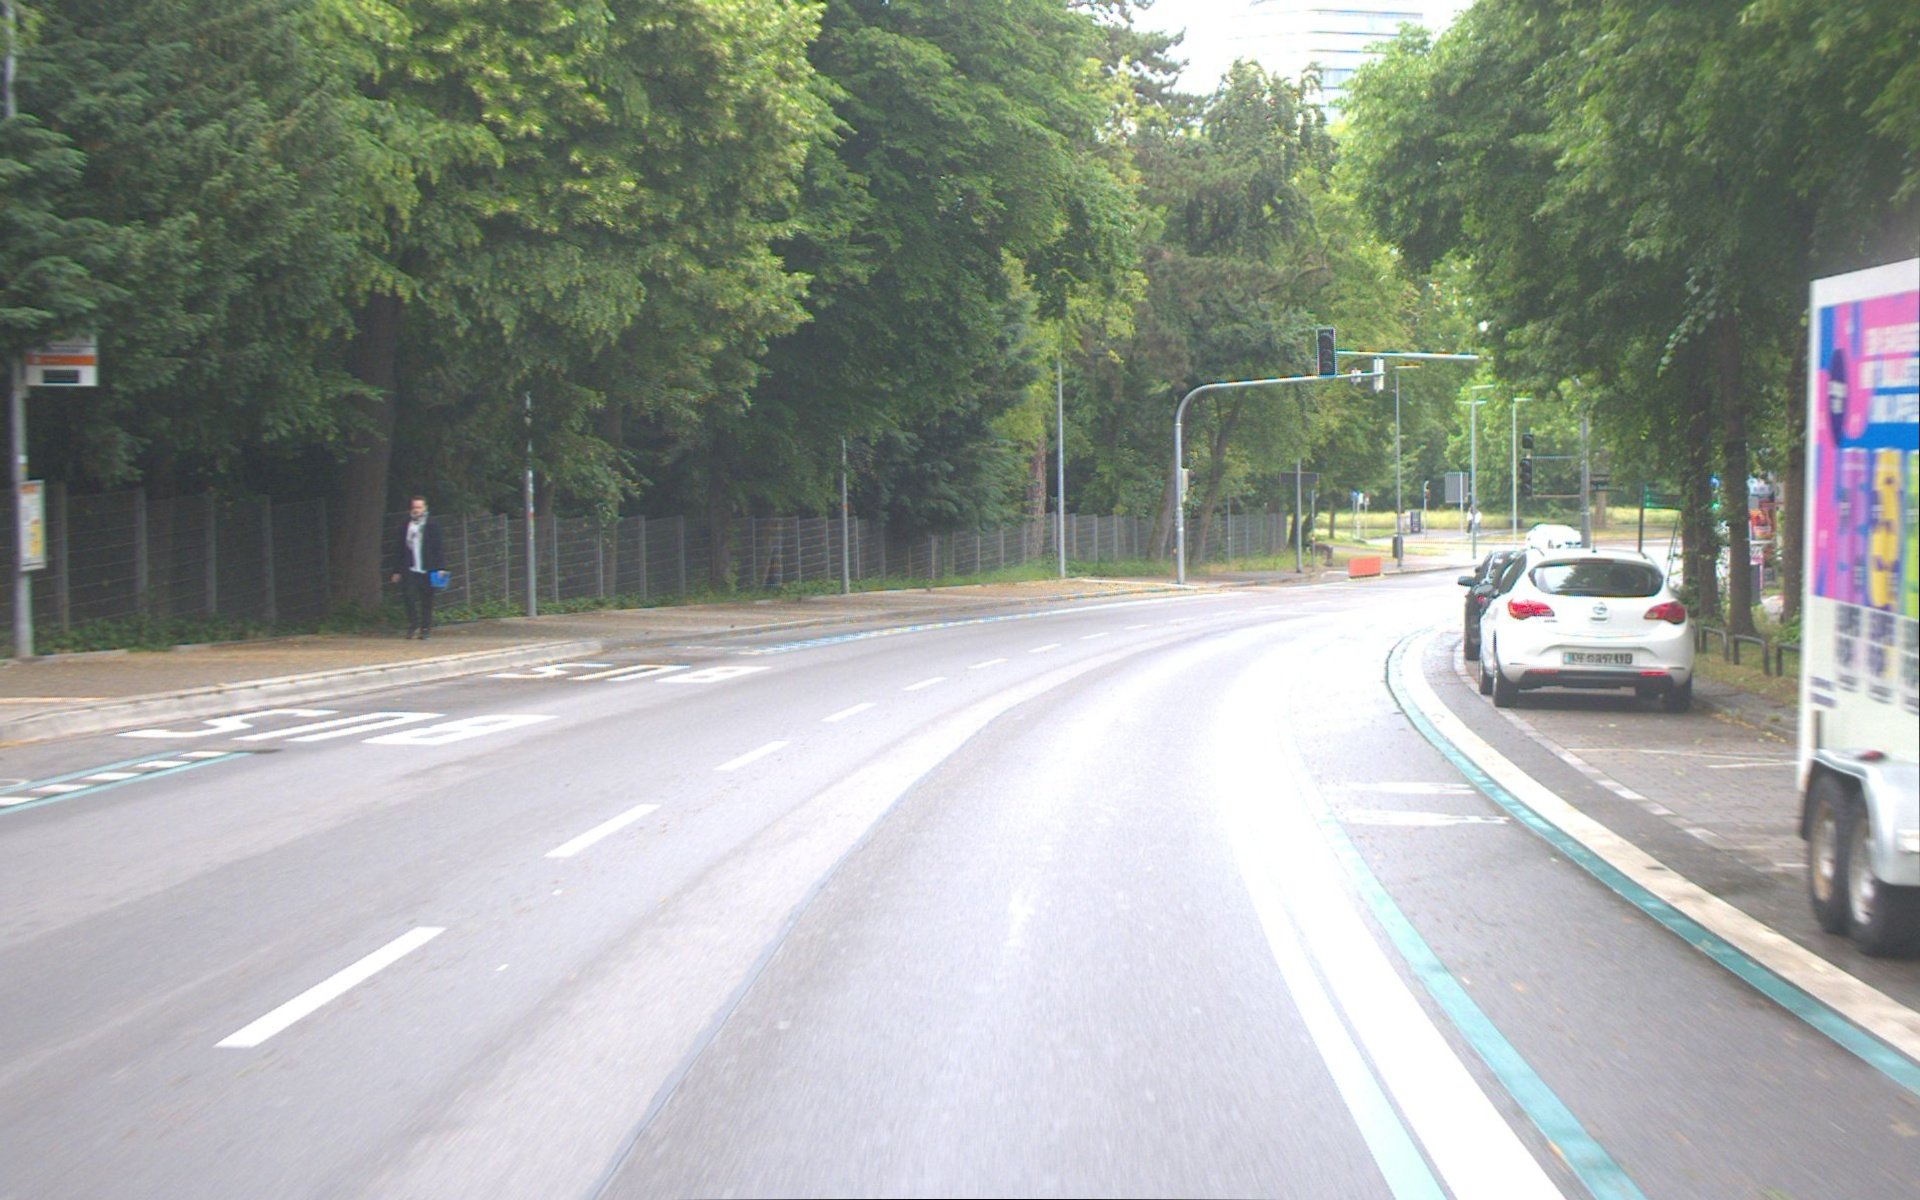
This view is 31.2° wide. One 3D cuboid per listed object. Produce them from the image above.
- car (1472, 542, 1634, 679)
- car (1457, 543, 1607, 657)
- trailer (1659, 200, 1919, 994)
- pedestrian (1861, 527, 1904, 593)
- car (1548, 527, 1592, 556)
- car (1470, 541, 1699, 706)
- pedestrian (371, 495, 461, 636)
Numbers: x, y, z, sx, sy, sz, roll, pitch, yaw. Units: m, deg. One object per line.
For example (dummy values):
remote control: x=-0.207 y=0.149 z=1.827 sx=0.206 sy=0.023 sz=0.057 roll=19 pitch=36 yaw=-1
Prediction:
car: x=6.764 y=0.083 z=39.202 sx=1.684 sy=1.423 sz=4.316 roll=2 pitch=1 yaw=10
car: x=7.618 y=-0.031 z=46.116 sx=1.782 sy=1.403 sz=4.844 roll=2 pitch=1 yaw=8
trailer: x=4.456 y=-0.049 z=13.836 sx=2.316 sy=2.663 sz=5.376 roll=1 pitch=1 yaw=2
pedestrian: x=24.604 y=-1.071 z=91.717 sx=0.888 sy=1.727 sz=1.144 roll=1 pitch=1 yaw=25
car: x=32.818 y=-3.155 z=184.807 sx=1.845 sy=1.452 sz=4.497 roll=1 pitch=2 yaw=16
car: x=5.953 y=0.176 z=33.211 sx=1.860 sy=1.423 sz=4.648 roll=2 pitch=1 yaw=7
pedestrian: x=-6.797 y=-0.436 z=42.995 sx=0.887 sy=1.727 sz=1.146 roll=1 pitch=1 yaw=2
